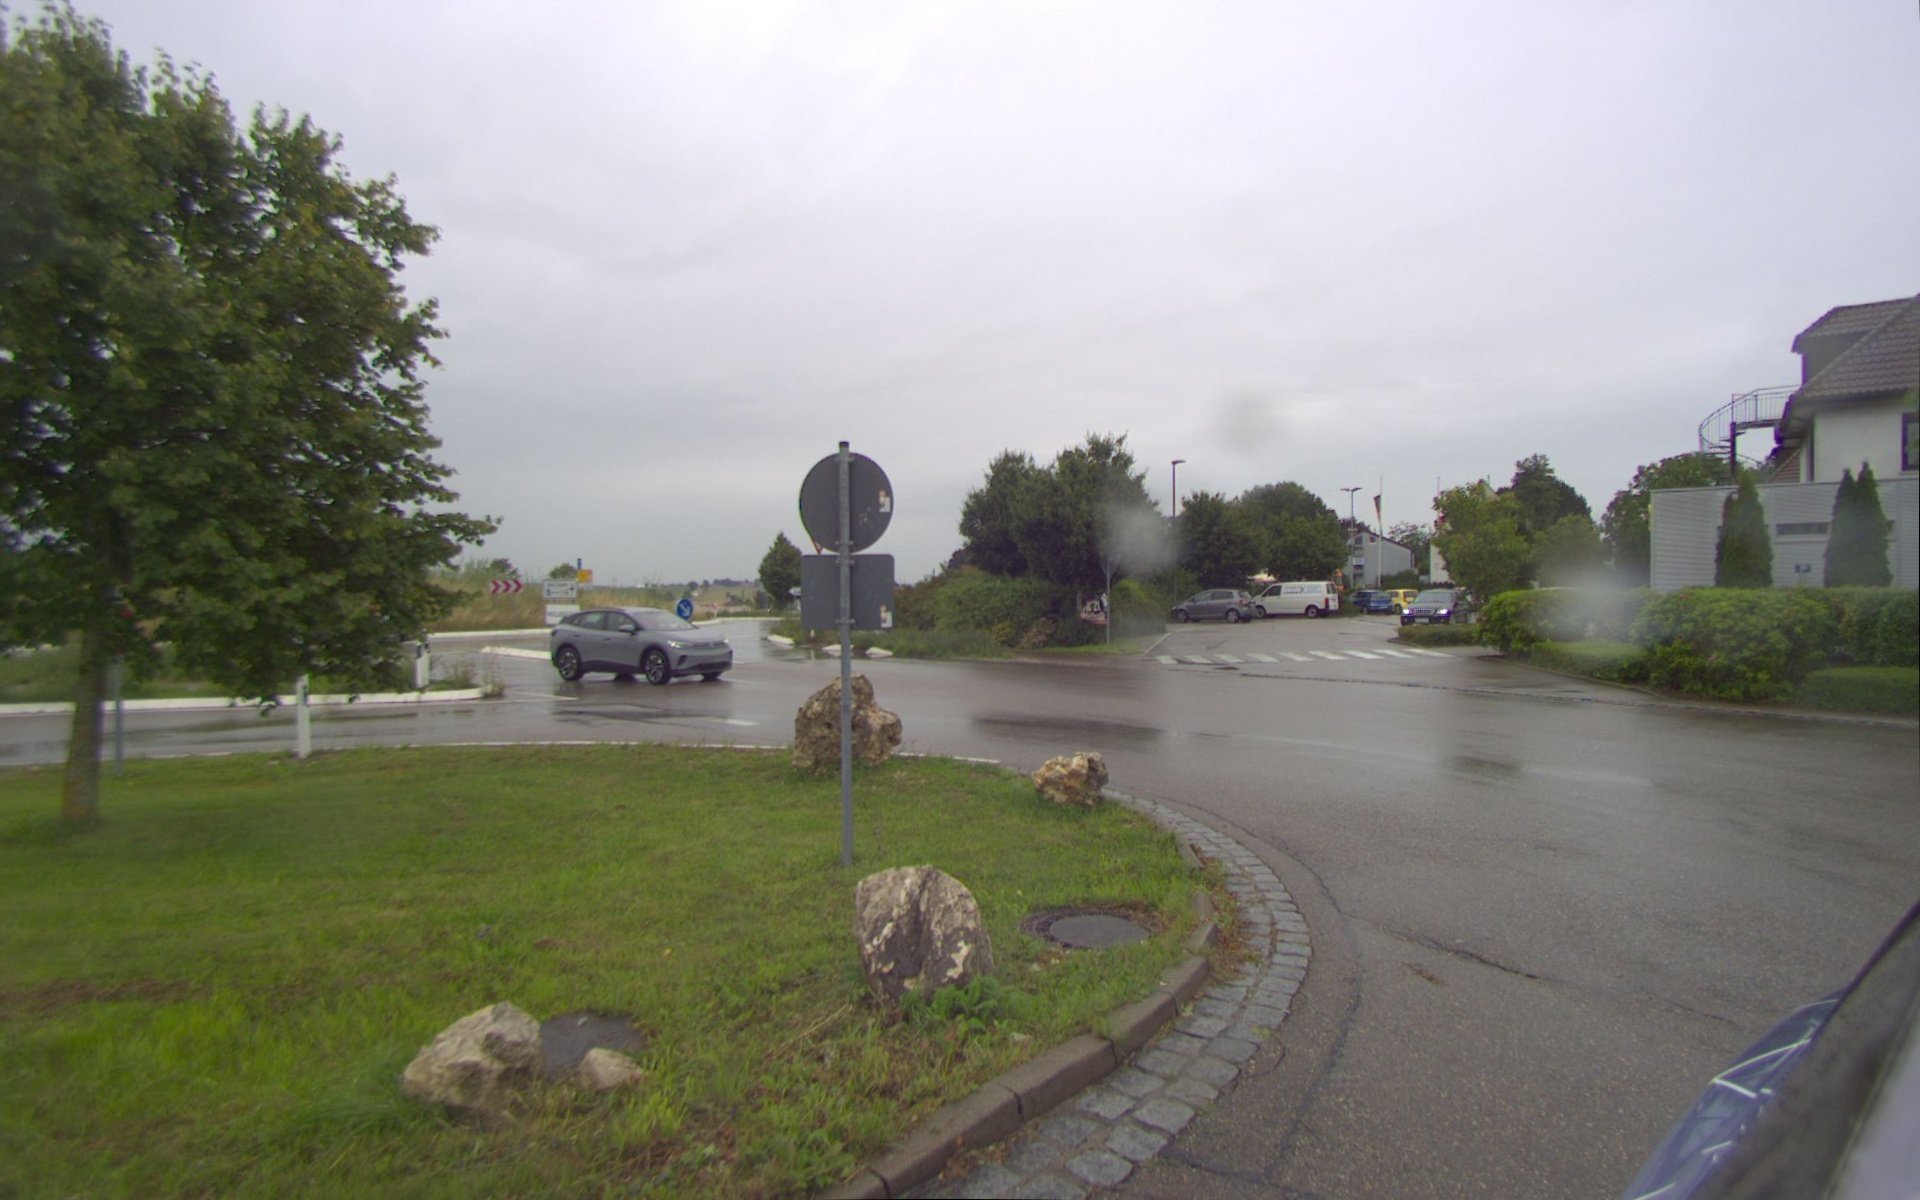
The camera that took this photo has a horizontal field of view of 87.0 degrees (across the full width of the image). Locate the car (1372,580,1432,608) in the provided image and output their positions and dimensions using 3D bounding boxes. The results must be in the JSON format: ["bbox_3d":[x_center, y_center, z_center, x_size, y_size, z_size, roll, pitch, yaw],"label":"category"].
[{"bbox_3d":[26.550,-0.345,60.941,1.633,1.569,3.730,-1,0,-7],"label":"car"}]

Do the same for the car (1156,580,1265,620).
[{"bbox_3d":[11.830,0.022,47.949,4.585,1.744,1.972,-2,-1,39],"label":"car"}]

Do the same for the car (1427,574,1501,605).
[{"bbox_3d":[30.912,-0.617,62.232,1.949,1.750,4.007,-1,0,-12],"label":"car"}]

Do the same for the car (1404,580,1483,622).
[{"bbox_3d":[18.091,0.016,37.758,1.698,1.443,4.299,-1,1,39],"label":"car"}]

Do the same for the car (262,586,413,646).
[{"bbox_3d":[-19.709,0.451,32.257,3.920,1.609,1.829,-3,3,-29],"label":"car"}]

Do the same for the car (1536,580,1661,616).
[{"bbox_3d":[26.969,-0.086,42.825,4.336,1.443,1.825,-1,0,38],"label":"car"}]

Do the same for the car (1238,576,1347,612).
[{"bbox_3d":[18.176,-0.307,55.477,5.349,1.744,1.972,-2,-1,39],"label":"car"}]

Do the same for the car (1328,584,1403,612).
[{"bbox_3d":[24.060,-0.095,60.250,1.959,1.570,4.655,-1,0,-9],"label":"car"}]

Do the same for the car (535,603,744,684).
[{"bbox_3d":[-7.179,0.917,22.598,4.461,1.594,1.979,-1,0,30],"label":"car"}]
